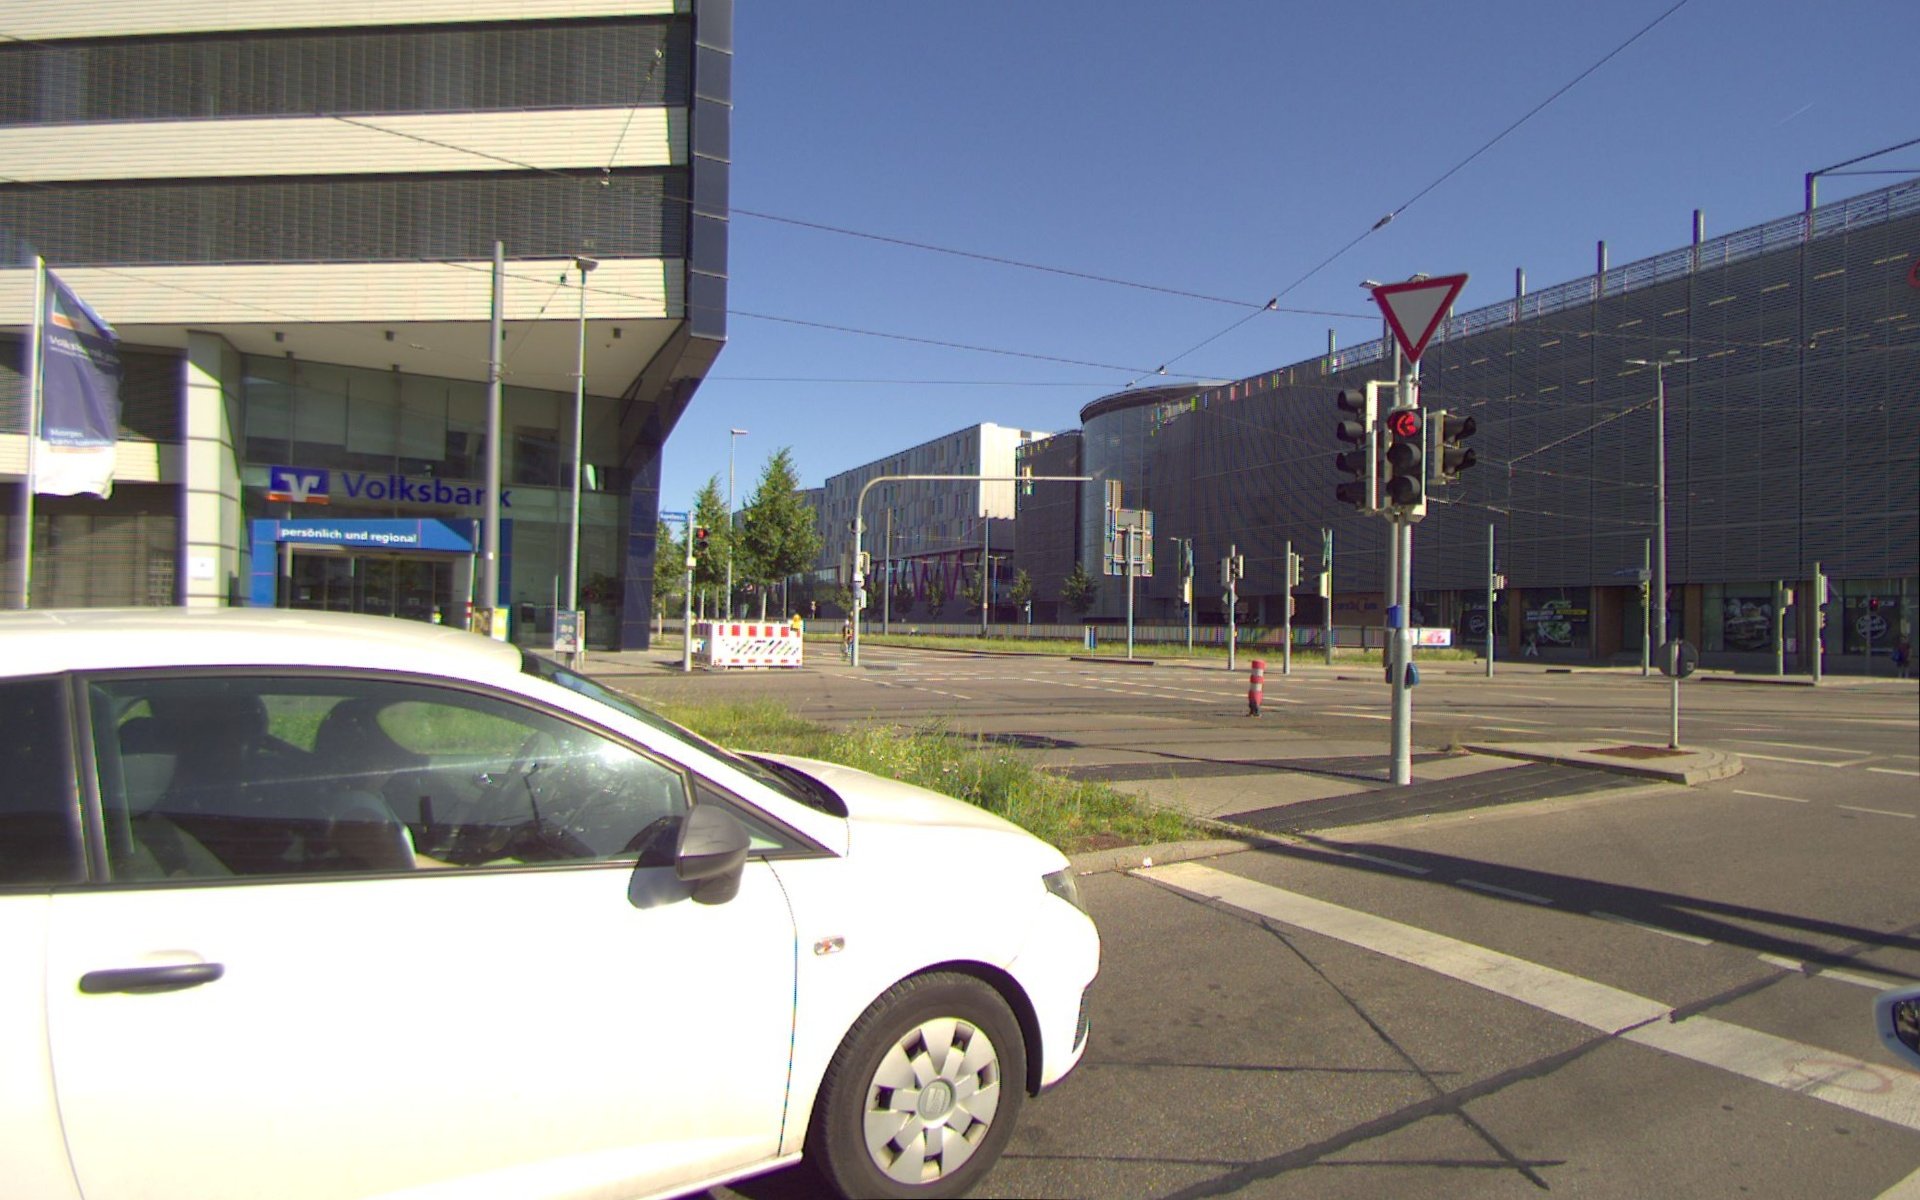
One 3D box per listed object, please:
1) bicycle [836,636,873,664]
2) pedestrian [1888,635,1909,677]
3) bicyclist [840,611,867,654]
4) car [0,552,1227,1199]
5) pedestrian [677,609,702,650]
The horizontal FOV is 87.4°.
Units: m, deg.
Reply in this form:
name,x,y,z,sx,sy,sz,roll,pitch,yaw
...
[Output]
name,x,y,z,sx,sy,sz,roll,pitch,yaw
bicycle,-3.570,1.683,33.874,0.758,0.851,2.559,1,-1,-17
pedestrian,39.602,2.357,42.378,0.616,1.774,0.586,0,-1,42
bicyclist,-3.587,1.086,33.915,0.750,1.428,0.769,1,-1,-17
car,-1.335,0.660,2.533,3.791,1.450,1.656,2,1,-30
pedestrian,-10.576,1.136,39.290,0.845,1.576,0.610,2,-1,-24
